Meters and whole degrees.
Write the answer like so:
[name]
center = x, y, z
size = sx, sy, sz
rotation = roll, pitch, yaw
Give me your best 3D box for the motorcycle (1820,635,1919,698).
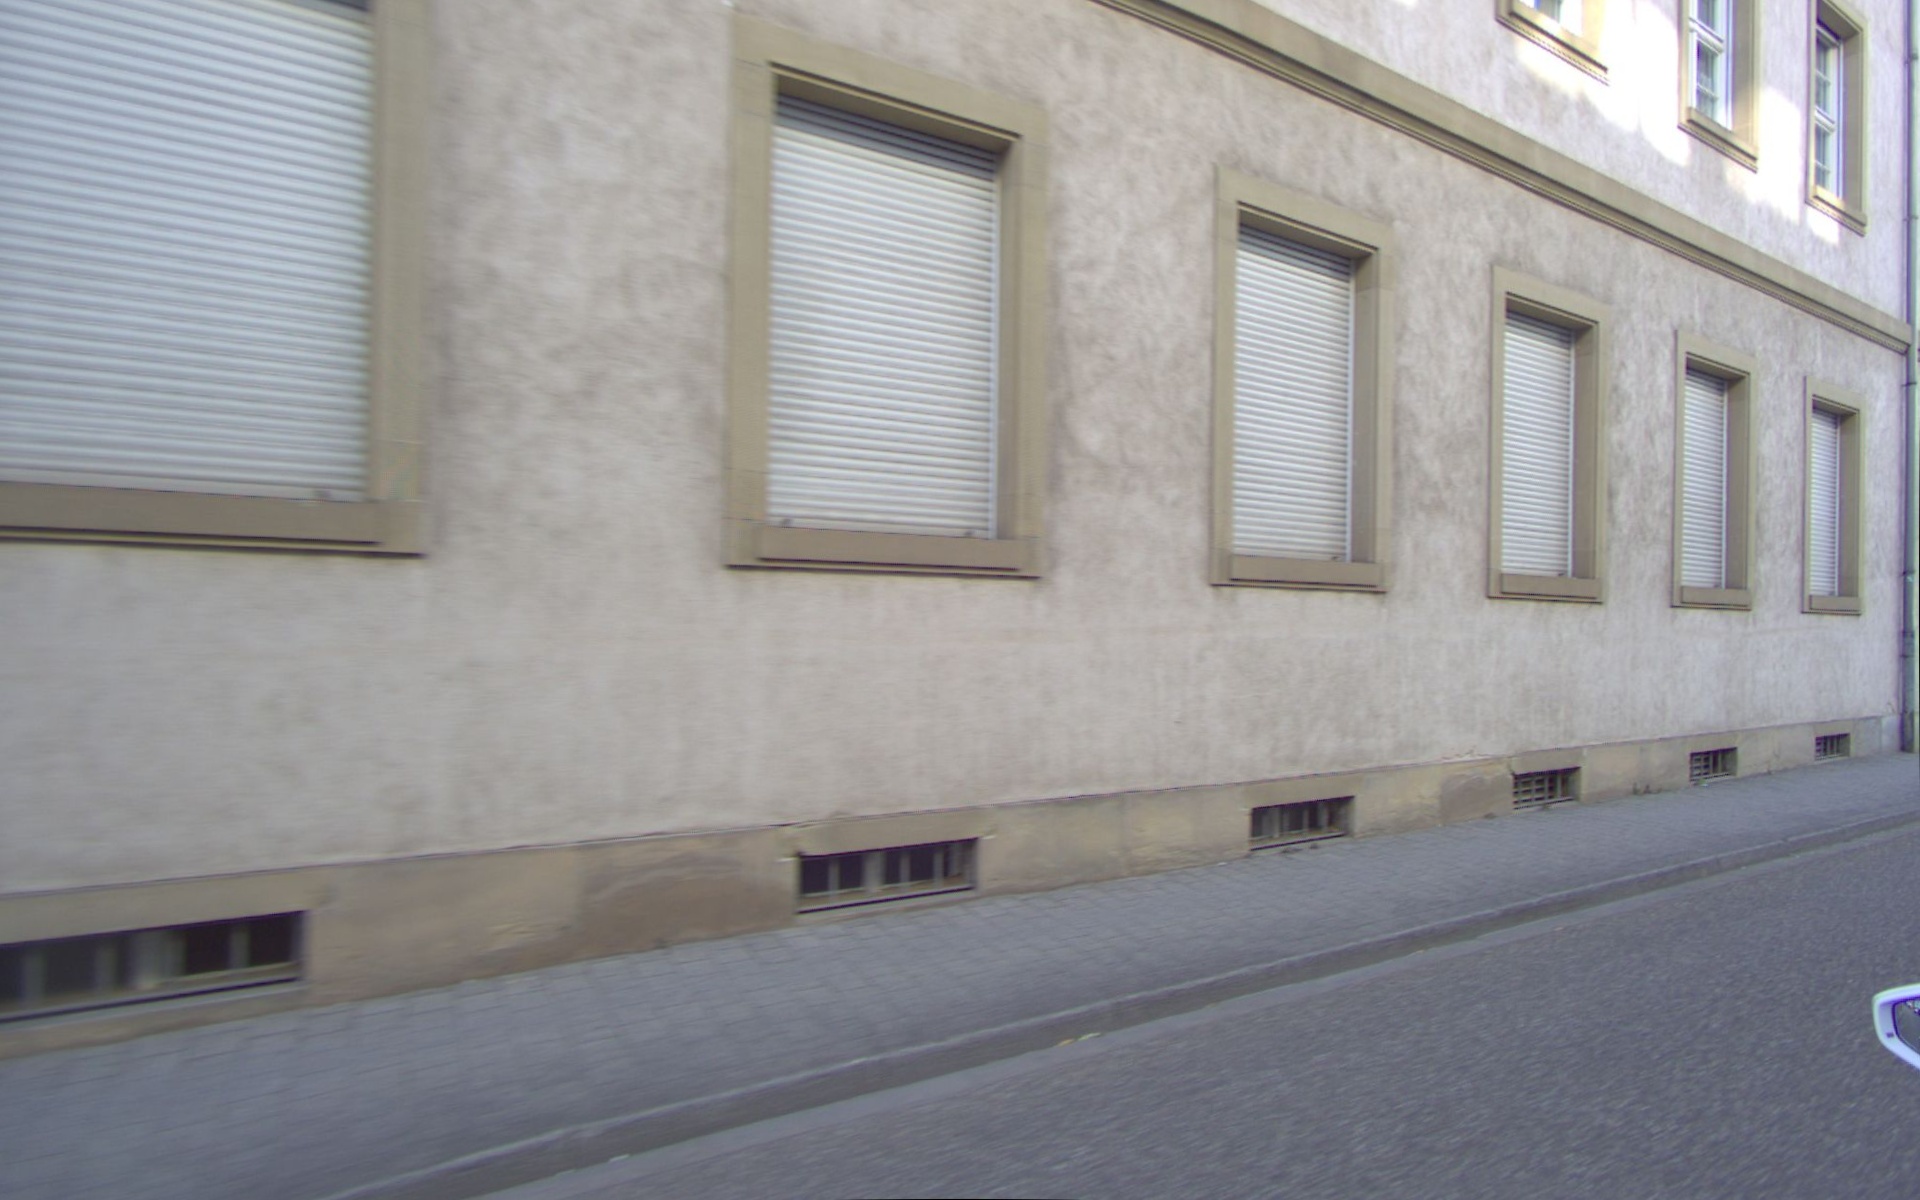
[motorcycle]
center = 18.546, 1.323, 20.488
size = 0.647, 1.189, 2.202
rotation = -1, -1, 16
